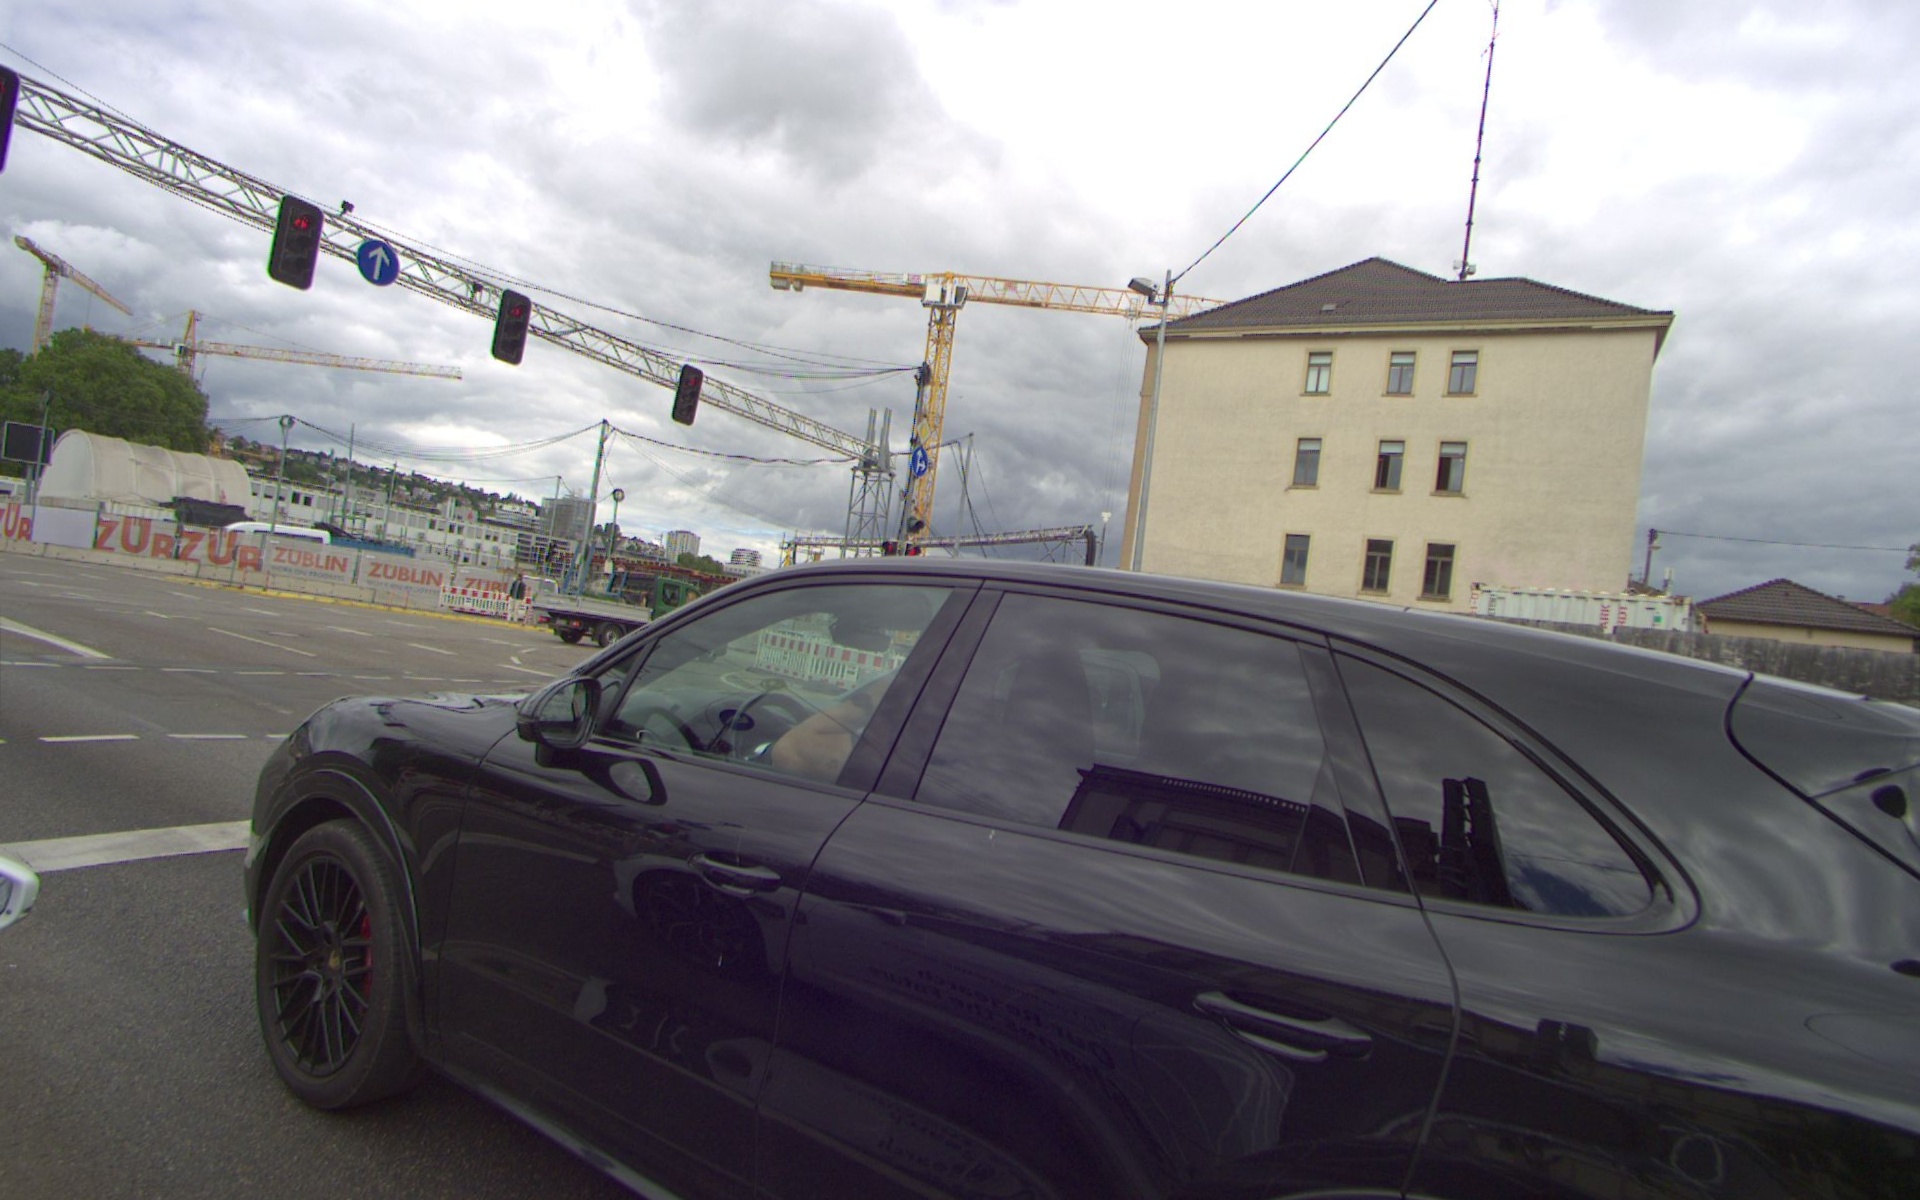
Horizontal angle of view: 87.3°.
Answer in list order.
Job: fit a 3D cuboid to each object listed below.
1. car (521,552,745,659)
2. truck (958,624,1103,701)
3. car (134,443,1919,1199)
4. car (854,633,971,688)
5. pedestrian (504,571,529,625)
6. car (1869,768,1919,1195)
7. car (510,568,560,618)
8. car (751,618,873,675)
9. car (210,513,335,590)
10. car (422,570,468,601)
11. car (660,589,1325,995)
[{"bbox_3d":[-9.242,0.257,29.040,2.267,2.331,5.766,6,-2,34],"label":"car"},{"bbox_3d":[3.617,3.133,48.531,2.585,2.835,8.996,7,-2,34],"label":"truck"},{"bbox_3d":[-0.047,0.679,2.650,4.410,1.735,1.828,6,-2,32],"label":"car"},{"bbox_3d":[-1.757,2.410,39.214,1.988,1.643,4.816,6,-2,33],"label":"car"},{"bbox_3d":[-17.195,-0.073,39.023,0.580,1.999,0.433,8,-1,-17],"label":"pedestrian"},{"bbox_3d":[5.764,1.708,2.553,4.729,1.644,1.828,6,-2,32],"label":"car"},{"bbox_3d":[-19.160,-0.328,45.283,1.757,1.976,3.108,8,-2,-25],"label":"car"},{"bbox_3d":[-5.406,1.780,37.307,1.654,1.643,4.718,6,-2,32],"label":"car"},{"bbox_3d":[-29.570,-2.046,43.355,1.660,2.692,3.979,6,-2,45],"label":"car"},{"bbox_3d":[-31.502,-0.908,61.497,1.668,1.545,3.960,8,-2,-37],"label":"car"},{"bbox_3d":[0.113,1.003,6.647,3.934,1.644,1.679,6,-2,32],"label":"car"}]
